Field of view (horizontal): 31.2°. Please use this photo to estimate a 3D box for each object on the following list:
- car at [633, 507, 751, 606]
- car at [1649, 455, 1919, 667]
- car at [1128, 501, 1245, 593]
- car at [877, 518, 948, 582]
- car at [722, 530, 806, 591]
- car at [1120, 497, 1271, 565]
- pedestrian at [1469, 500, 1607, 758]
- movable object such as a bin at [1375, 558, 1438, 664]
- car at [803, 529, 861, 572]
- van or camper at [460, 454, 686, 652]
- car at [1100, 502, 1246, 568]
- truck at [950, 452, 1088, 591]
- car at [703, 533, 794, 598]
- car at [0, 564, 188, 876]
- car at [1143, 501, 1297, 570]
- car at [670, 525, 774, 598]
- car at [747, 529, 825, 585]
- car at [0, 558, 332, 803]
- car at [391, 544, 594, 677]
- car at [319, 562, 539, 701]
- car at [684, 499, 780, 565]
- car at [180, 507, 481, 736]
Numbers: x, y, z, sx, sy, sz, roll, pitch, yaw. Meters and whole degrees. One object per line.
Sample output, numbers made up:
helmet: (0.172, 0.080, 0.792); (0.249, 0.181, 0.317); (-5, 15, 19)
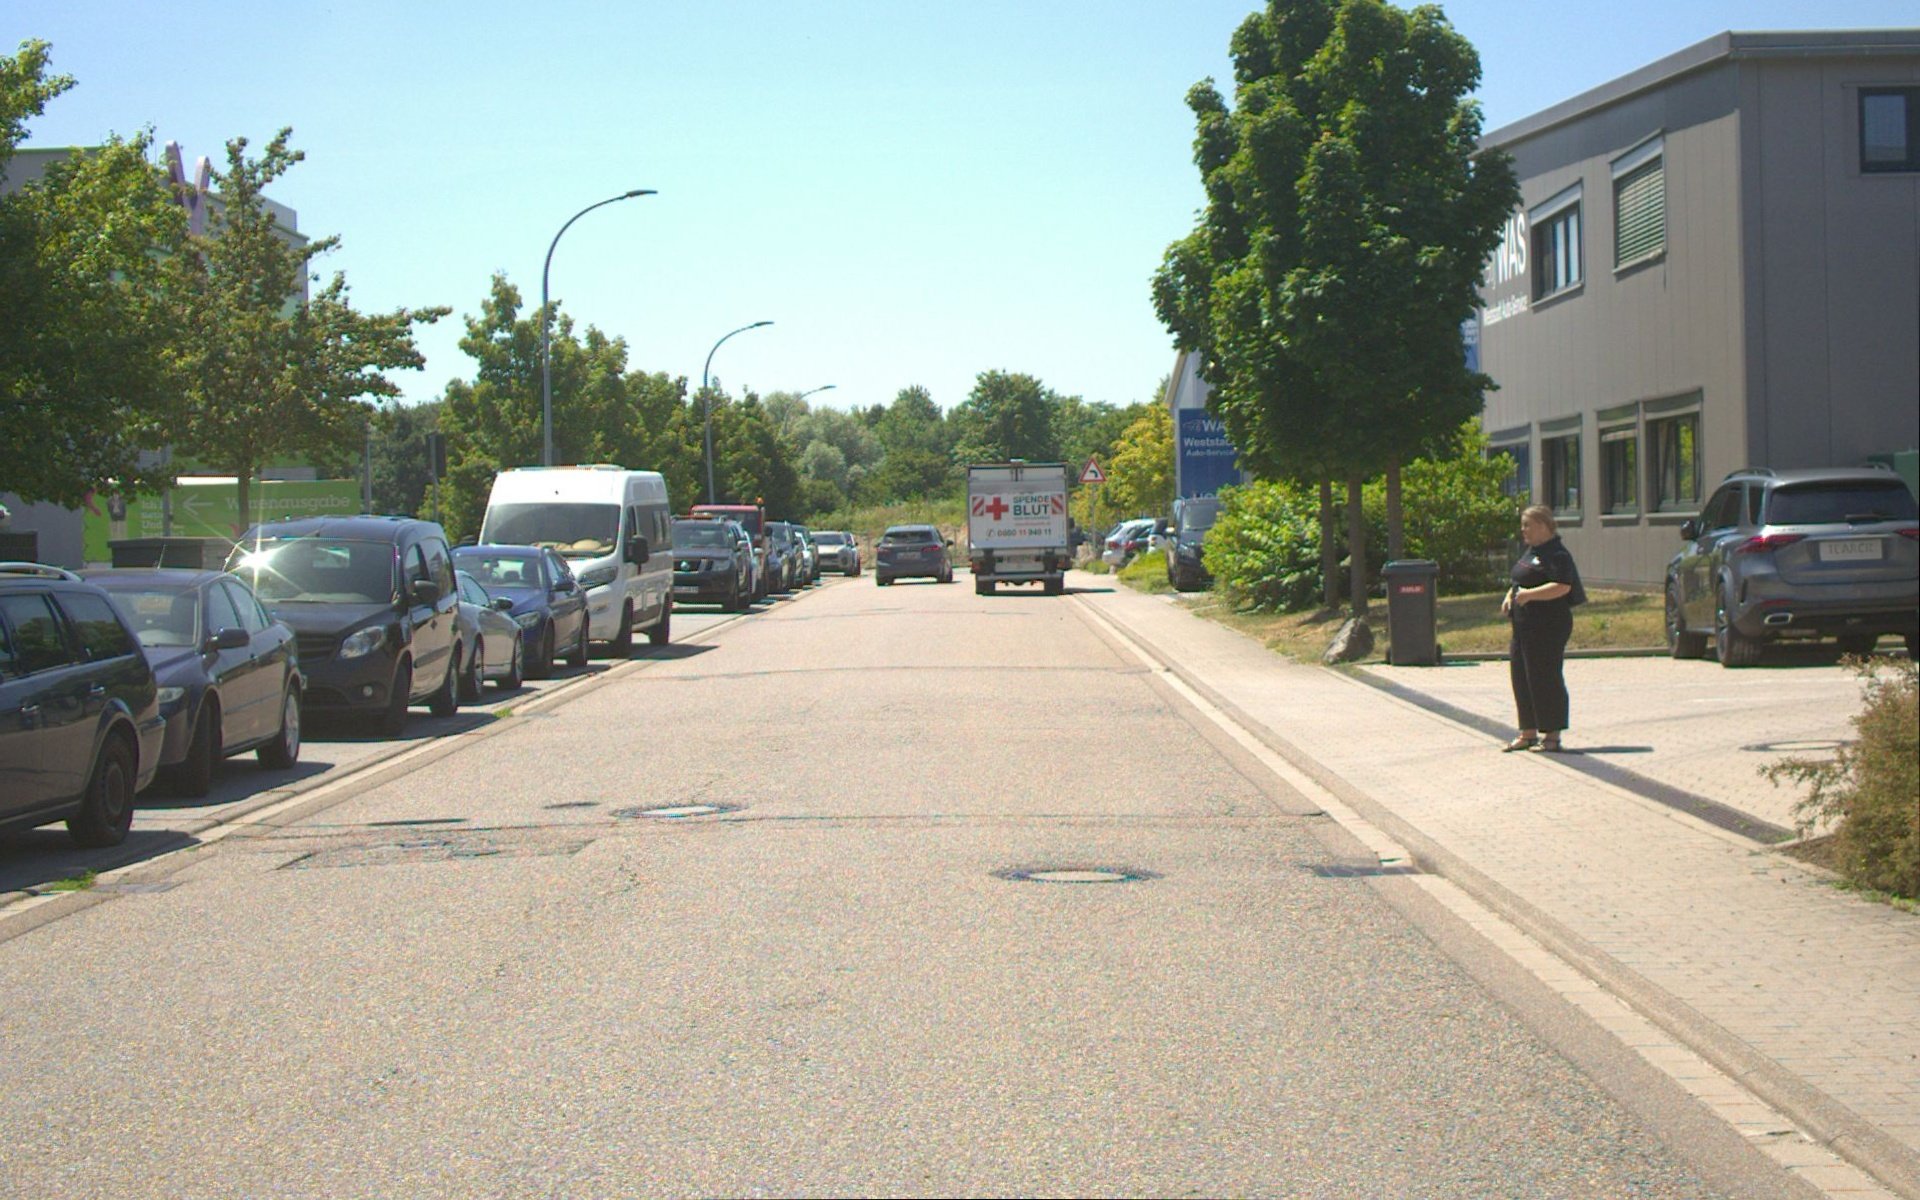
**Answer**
car: (-5.165, -0.873, 66.670); (1.799, 1.842, 4.252); (0, 2, 2)
car: (7.774, -0.354, 32.223); (1.785, 1.777, 4.905); (-2, 0, 3)
car: (4.668, -1.105, 71.469); (1.993, 1.797, 4.140); (-1, 1, -2)
car: (-1.231, -1.329, 91.145); (1.789, 1.618, 3.809); (1, 1, 0)
car: (-5.066, -1.043, 89.368); (1.799, 1.482, 4.252); (0, 2, 2)
car: (6.361, -1.857, 93.023); (3.875, 1.744, 1.752); (1, 1, -2)
pedestrian: (3.749, 0.183, 22.315); (0.499, 1.608, 0.714); (-5, 1, -16)
movable object such as a bin: (4.527, 0.109, 34.892); (0.531, 1.049, 0.845); (-1, 1, 2)
car: (-4.608, -1.798, 124.203); (1.799, 1.482, 4.252); (0, 2, 2)
van or camper: (-5.163, -0.646, 46.754); (2.079, 2.474, 6.130); (1, 1, 3)
car: (5.906, -1.799, 95.708); (3.875, 1.744, 1.752); (1, 1, -2)
truck: (1.324, -1.757, 77.940); (2.933, 2.963, 6.419); (1, 1, 1)
car: (-5.144, -0.862, 84.134); (1.799, 1.482, 4.252); (0, 2, 2)
car: (-5.437, 0.578, 16.974); (1.799, 1.471, 4.636); (0, 1, 6)
car: (6.844, -1.699, 90.749); (3.875, 1.744, 1.752); (1, 1, -2)
car: (-5.102, -0.851, 74.228); (1.799, 1.482, 4.252); (0, 2, 2)
car: (-4.800, -1.205, 95.398); (1.799, 1.482, 4.252); (0, 2, 2)
car: (-5.579, 0.470, 23.360); (1.799, 1.471, 4.589); (0, 1, 0)
car: (-5.356, 0.085, 39.869); (1.799, 1.444, 4.252); (0, 1, 0)
car: (-5.305, 0.277, 34.759); (1.478, 1.293, 3.899); (0, 1, 2)
car: (-5.260, -1.592, 79.723); (1.799, 1.482, 4.252); (0, 2, 2)
car: (-5.289, 0.133, 29.393); (1.799, 1.808, 4.252); (0, 1, 0)
